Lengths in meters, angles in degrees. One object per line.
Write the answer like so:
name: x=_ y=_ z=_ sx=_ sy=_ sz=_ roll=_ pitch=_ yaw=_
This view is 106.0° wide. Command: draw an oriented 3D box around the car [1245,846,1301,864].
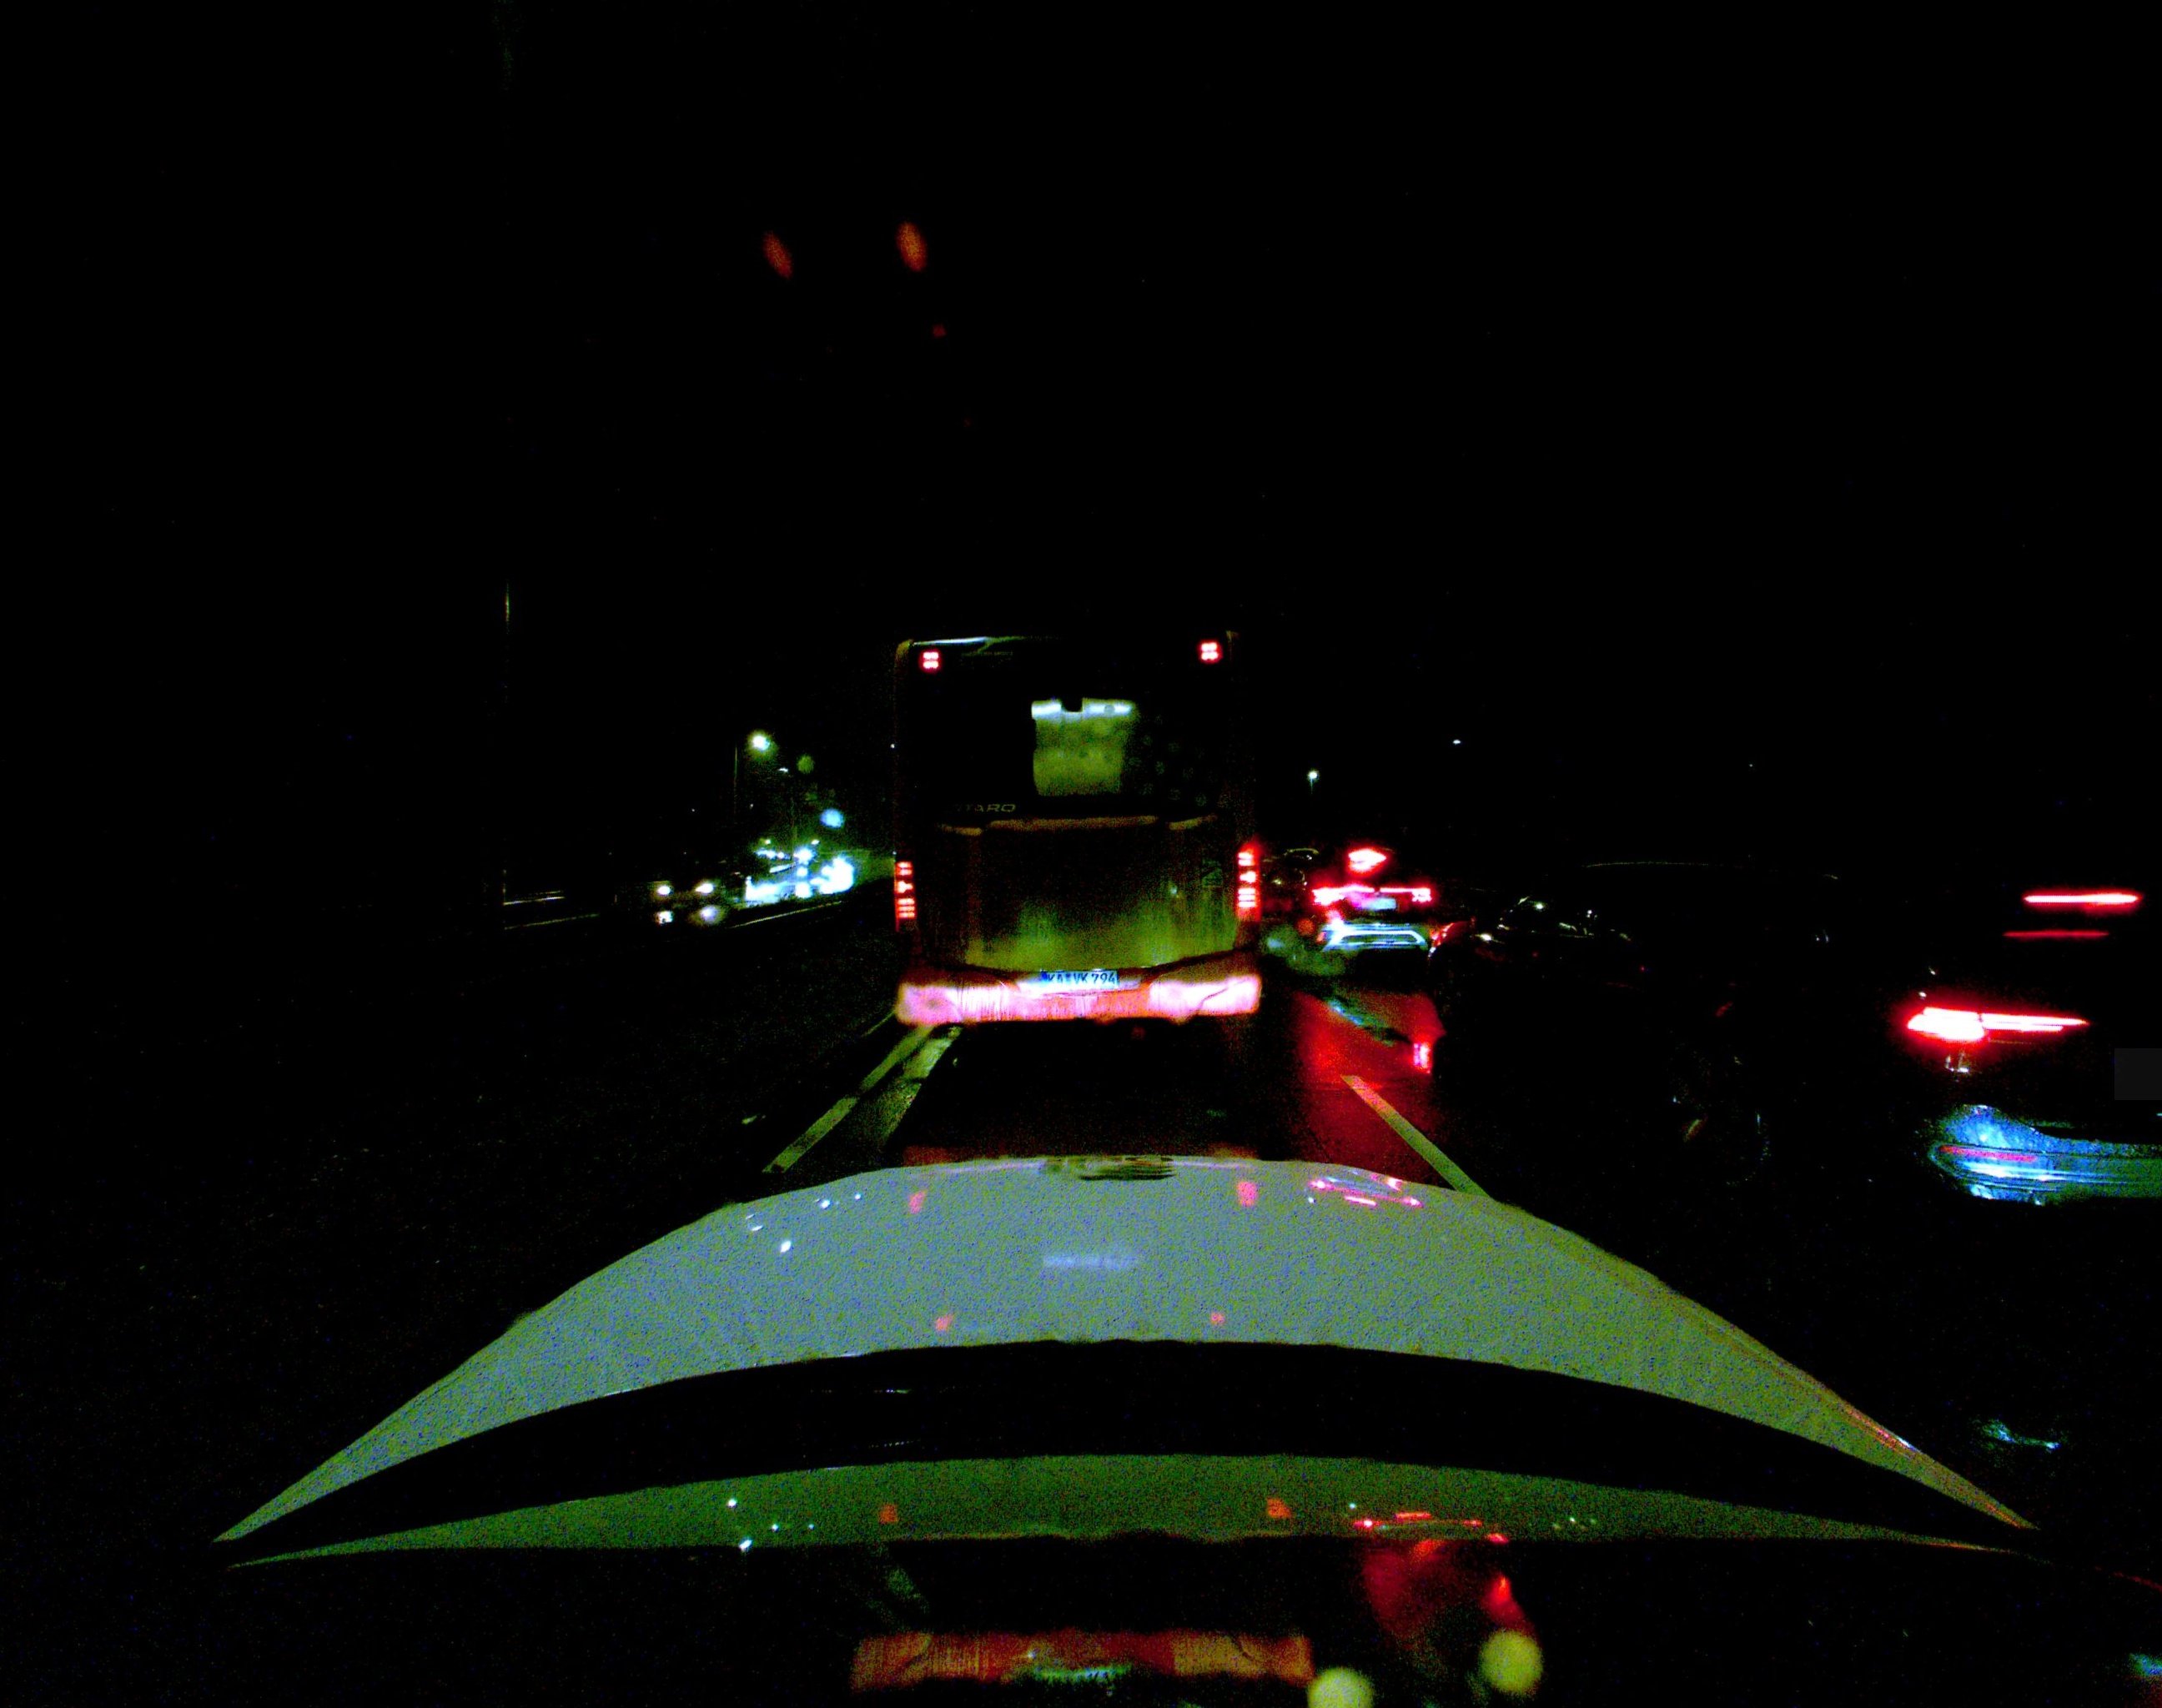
car: x=15.259 y=0.054 z=64.745 sx=4.037 sy=1.345 sz=1.744 roll=0 pitch=2 yaw=-6

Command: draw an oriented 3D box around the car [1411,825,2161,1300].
car: x=3.679 y=0.695 z=4.888 sx=1.666 sy=1.506 sz=4.561 roll=1 pitch=-1 yaw=2

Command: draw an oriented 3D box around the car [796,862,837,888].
car: x=-15.302 y=1.183 z=47.351 sx=1.713 sy=1.423 sz=4.648 roll=-1 pitch=0 yaw=-12

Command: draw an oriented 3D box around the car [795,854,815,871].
car: x=-27.705 y=0.841 z=81.837 sx=1.770 sy=1.631 sz=4.225 roll=-1 pitch=0 yaw=-17

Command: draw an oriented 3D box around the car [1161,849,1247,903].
car: x=3.551 y=0.617 z=24.210 sx=1.987 sy=1.441 sz=3.999 roll=0 pitch=0 yaw=0

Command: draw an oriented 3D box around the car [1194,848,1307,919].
car: x=3.589 y=0.584 z=17.927 sx=1.680 sy=1.330 sz=3.960 roll=-2 pitch=0 yaw=1

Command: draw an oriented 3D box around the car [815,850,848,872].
car: x=-19.160 y=0.567 z=62.619 sx=1.870 sy=1.607 sz=4.234 roll=-1 pitch=-1 yaw=-10

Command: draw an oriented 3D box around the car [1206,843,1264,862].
car: x=12.914 y=-0.125 z=68.535 sx=4.477 sy=1.519 sz=1.853 roll=0 pitch=2 yaw=-6

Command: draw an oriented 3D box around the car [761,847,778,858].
car: x=-42.841 y=-0.241 z=112.129 sx=1.751 sy=1.502 sz=3.964 roll=0 pitch=-1 yaw=-28

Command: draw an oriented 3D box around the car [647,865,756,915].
car: x=-13.117 y=1.178 z=28.527 sx=1.991 sy=1.508 sz=4.828 roll=-1 pitch=0 yaw=-7

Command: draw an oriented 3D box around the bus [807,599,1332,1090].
bus: x=-0.040 y=-0.169 z=9.993 sx=3.274 sy=3.050 sz=9.544 roll=-2 pitch=1 yaw=0

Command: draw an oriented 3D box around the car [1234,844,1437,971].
car: x=3.454 y=0.661 z=11.834 sx=1.672 sy=1.521 sz=3.959 roll=0 pitch=0 yaw=-1

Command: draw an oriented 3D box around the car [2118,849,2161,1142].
car: x=6.429 y=0.724 z=2.125 sx=1.986 sy=1.481 sz=4.339 roll=1 pitch=0 yaw=1
